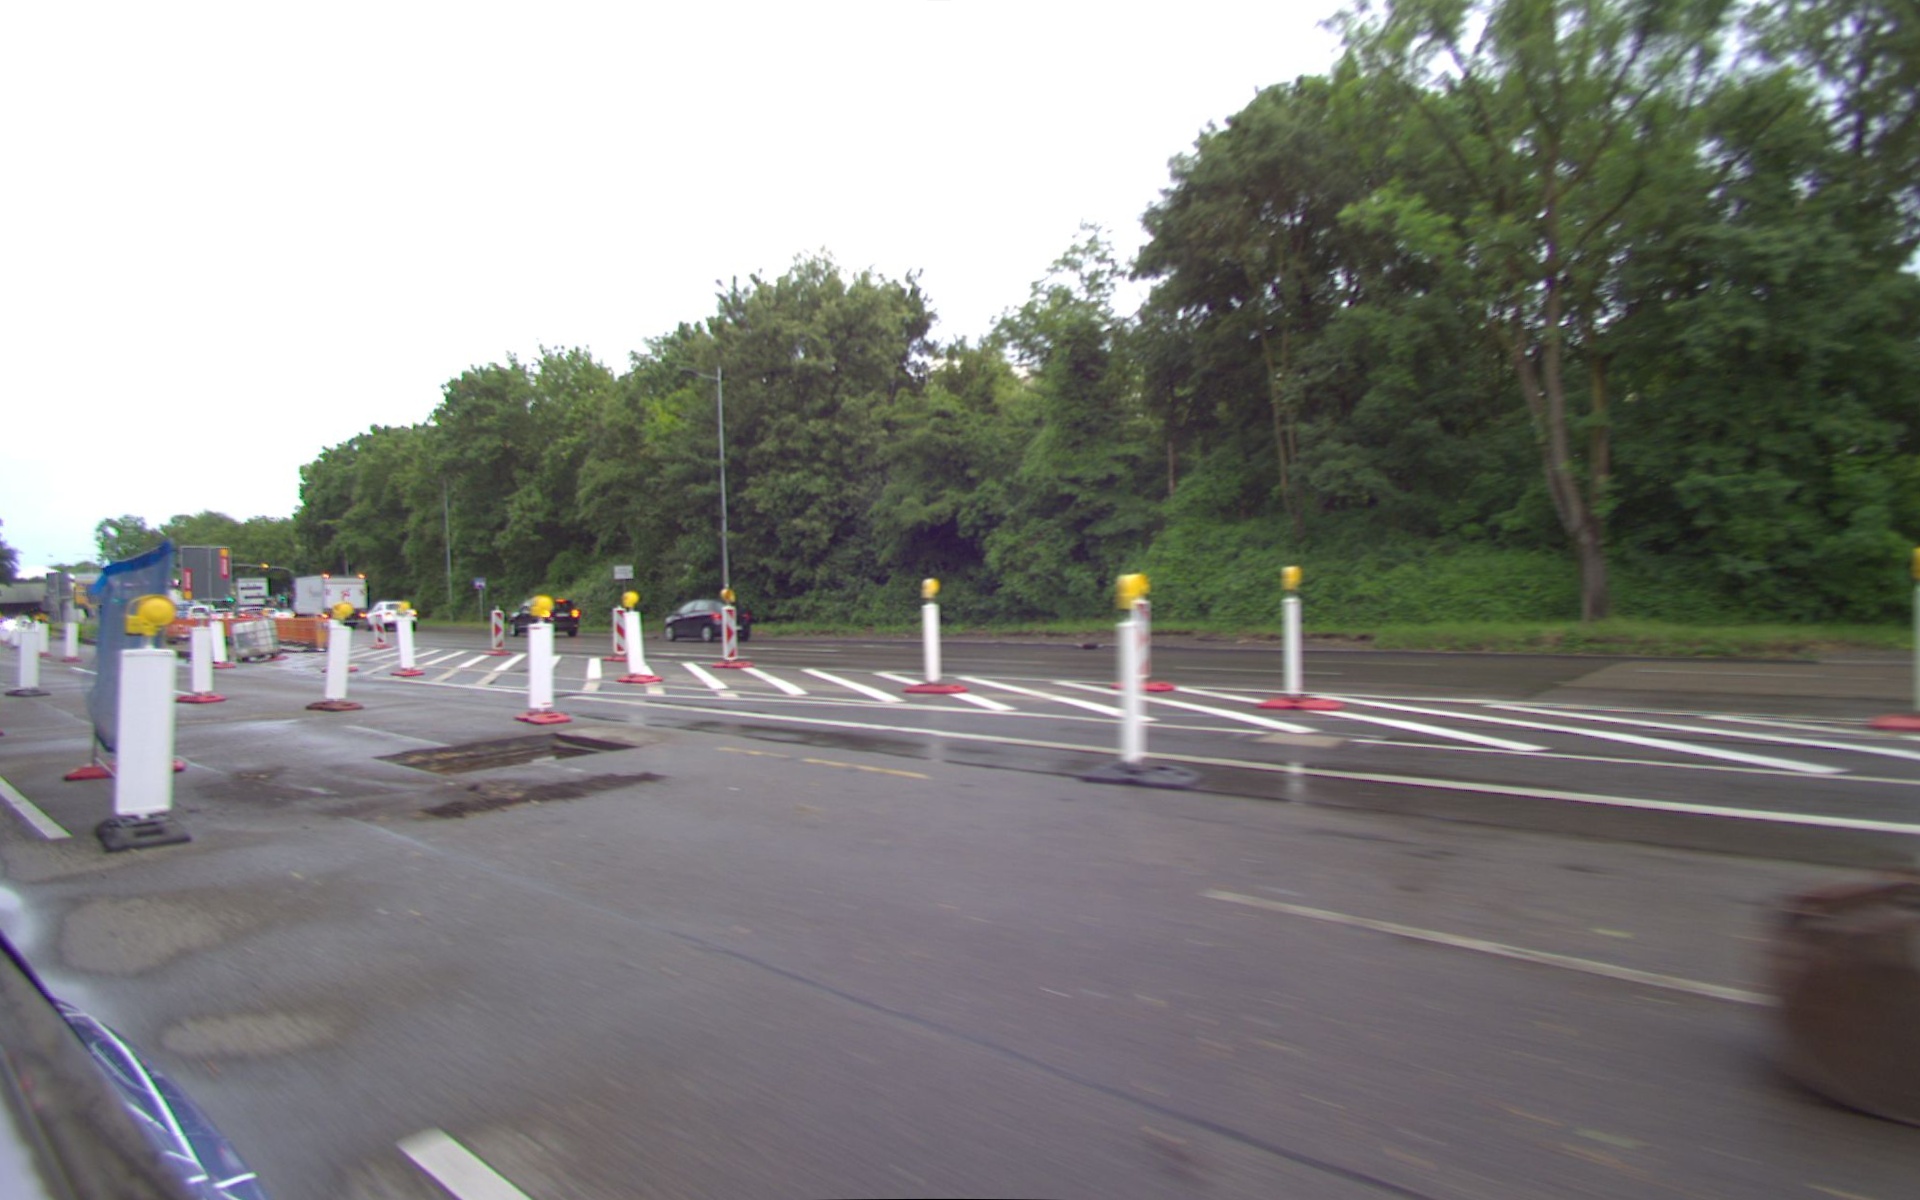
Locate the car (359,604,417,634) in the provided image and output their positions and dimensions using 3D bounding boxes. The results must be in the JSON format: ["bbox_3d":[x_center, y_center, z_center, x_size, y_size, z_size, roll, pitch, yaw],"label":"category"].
[{"bbox_3d":[-35.015,1.166,61.902,4.721,1.736,1.823,-2,-3,45],"label":"car"}]

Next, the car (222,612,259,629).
[{"bbox_3d":[-54.612,1.550,76.782,4.284,1.161,1.587,-1,1,45],"label":"car"}]

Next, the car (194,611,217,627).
[{"bbox_3d":[-105.275,2.670,141.169,2.010,1.989,4.996,-4,1,-42],"label":"car"}]

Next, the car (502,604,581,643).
[{"bbox_3d":[-18.621,1.049,44.994,4.198,1.660,1.618,-2,-1,43],"label":"car"}]

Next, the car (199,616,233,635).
[{"bbox_3d":[-64.569,2.239,87.809,4.042,1.562,1.814,-1,0,45],"label":"car"}]

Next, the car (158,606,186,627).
[{"bbox_3d":[-96.982,2.056,124.543,2.169,2.408,6.251,-4,1,-42],"label":"car"}]

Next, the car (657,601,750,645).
[{"bbox_3d":[-9.087,0.807,35.732,3.538,1.468,1.509,-1,-1,42],"label":"car"}]

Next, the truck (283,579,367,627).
[{"bbox_3d":[-45.336,0.236,72.053,10.152,3.172,2.764,-1,1,45],"label":"truck"}]

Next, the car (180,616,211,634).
[{"bbox_3d":[-80.846,2.661,107.030,4.835,1.794,1.893,-2,0,44],"label":"car"}]
